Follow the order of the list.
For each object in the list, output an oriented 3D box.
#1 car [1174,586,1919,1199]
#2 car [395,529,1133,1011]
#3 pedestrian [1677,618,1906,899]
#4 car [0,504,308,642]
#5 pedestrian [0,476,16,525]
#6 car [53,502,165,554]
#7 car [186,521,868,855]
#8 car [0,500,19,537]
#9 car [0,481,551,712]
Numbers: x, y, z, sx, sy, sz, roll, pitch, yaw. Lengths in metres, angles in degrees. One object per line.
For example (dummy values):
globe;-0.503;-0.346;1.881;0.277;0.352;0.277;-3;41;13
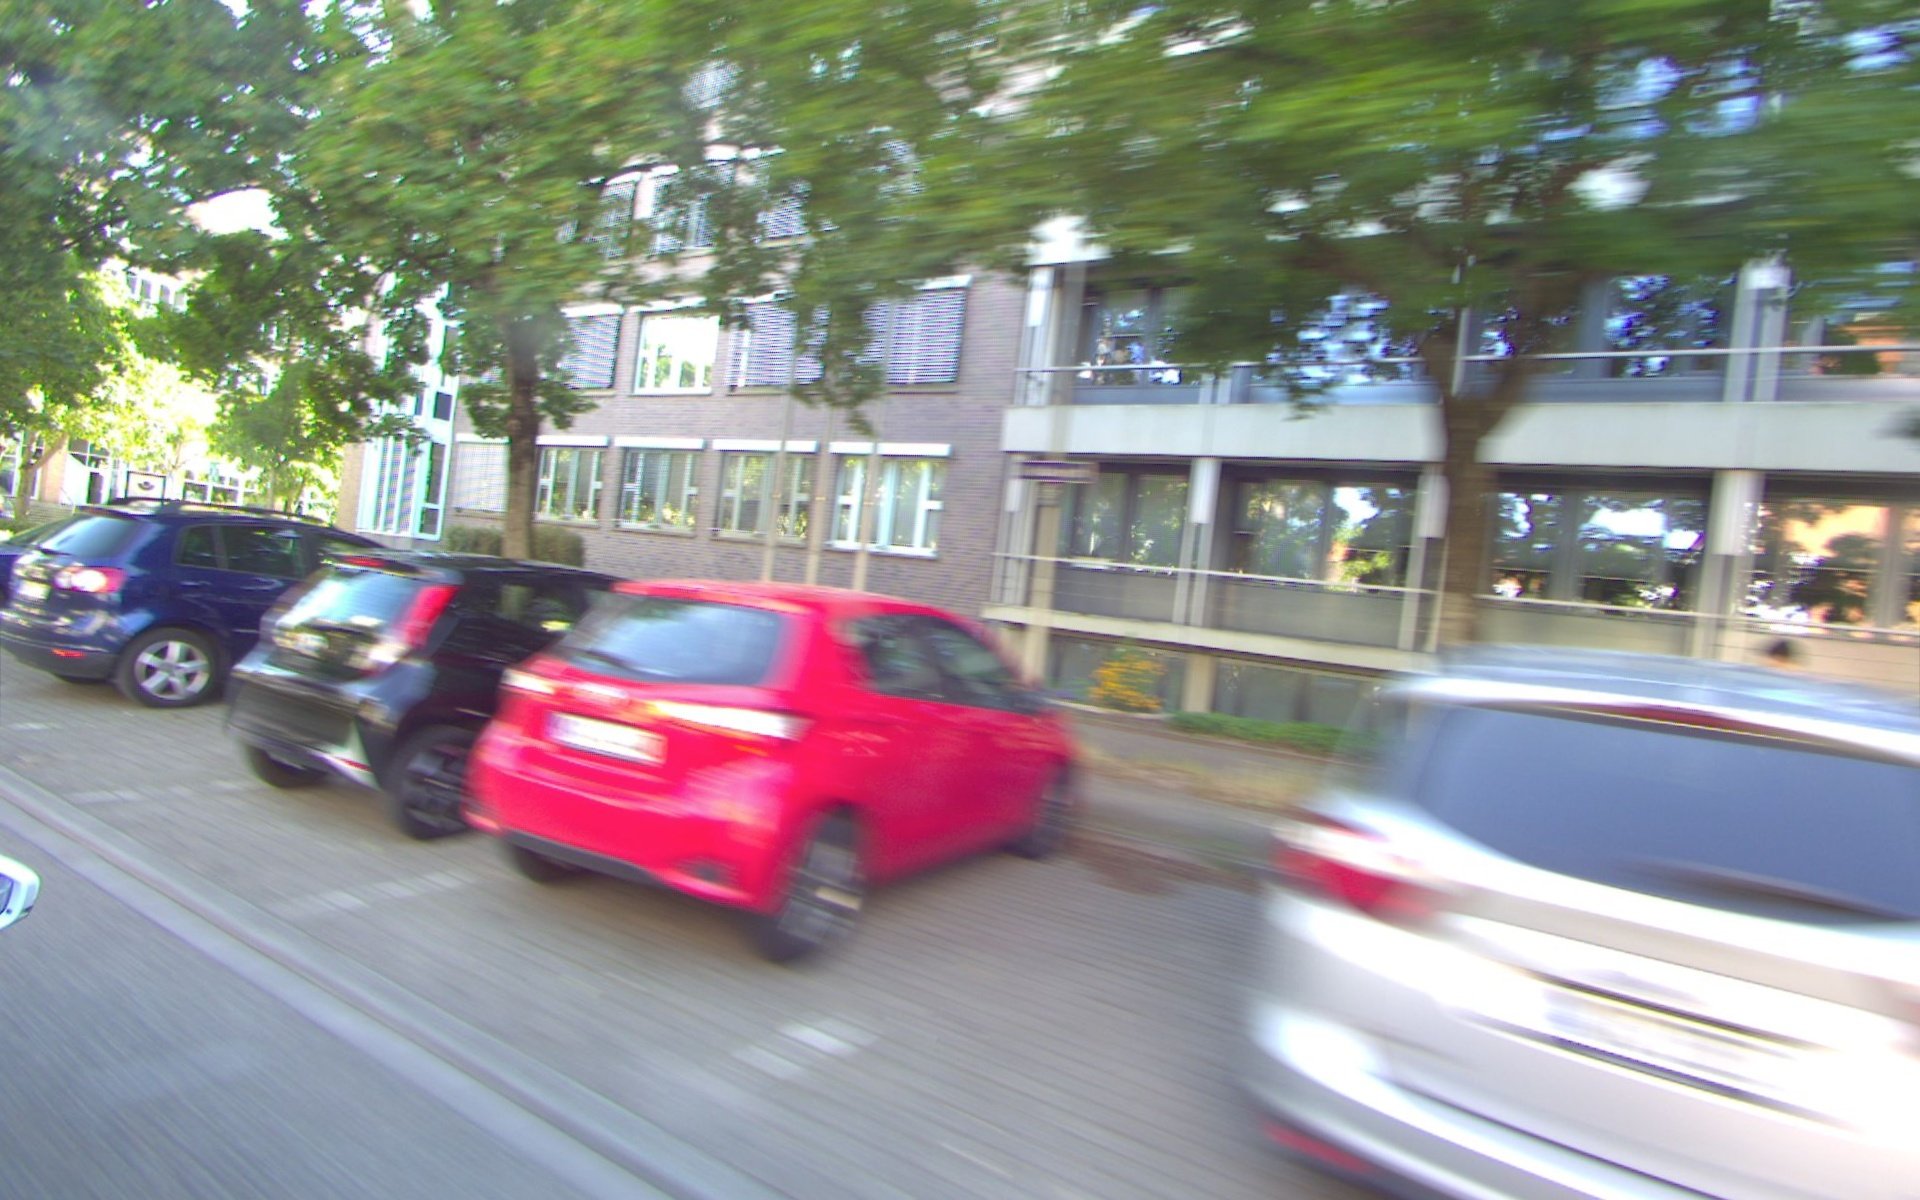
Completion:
car;2.369;0.983;3.660;1.686;1.604;3.990;6;0;33
car;-0.597;0.679;5.694;1.804;1.536;4.133;7;0;27
pedestrian;6.158;1.125;7.547;1.002;1.820;1.036;7;0;31
car;-10.114;-0.308;11.520;1.626;1.388;4.121;7;1;28
pedestrian;-32.347;-3.381;33.844;0.636;1.601;0.539;7;0;22
car;-32.285;-2.734;38.141;4.292;1.583;1.742;4;-2;29
car;-2.491;0.465;6.917;1.631;1.480;4.130;6;1;27
car;-43.385;-3.787;44.410;3.852;1.480;1.655;7;0;32
car;-6.108;0.005;9.348;1.631;1.610;4.130;6;0;27
